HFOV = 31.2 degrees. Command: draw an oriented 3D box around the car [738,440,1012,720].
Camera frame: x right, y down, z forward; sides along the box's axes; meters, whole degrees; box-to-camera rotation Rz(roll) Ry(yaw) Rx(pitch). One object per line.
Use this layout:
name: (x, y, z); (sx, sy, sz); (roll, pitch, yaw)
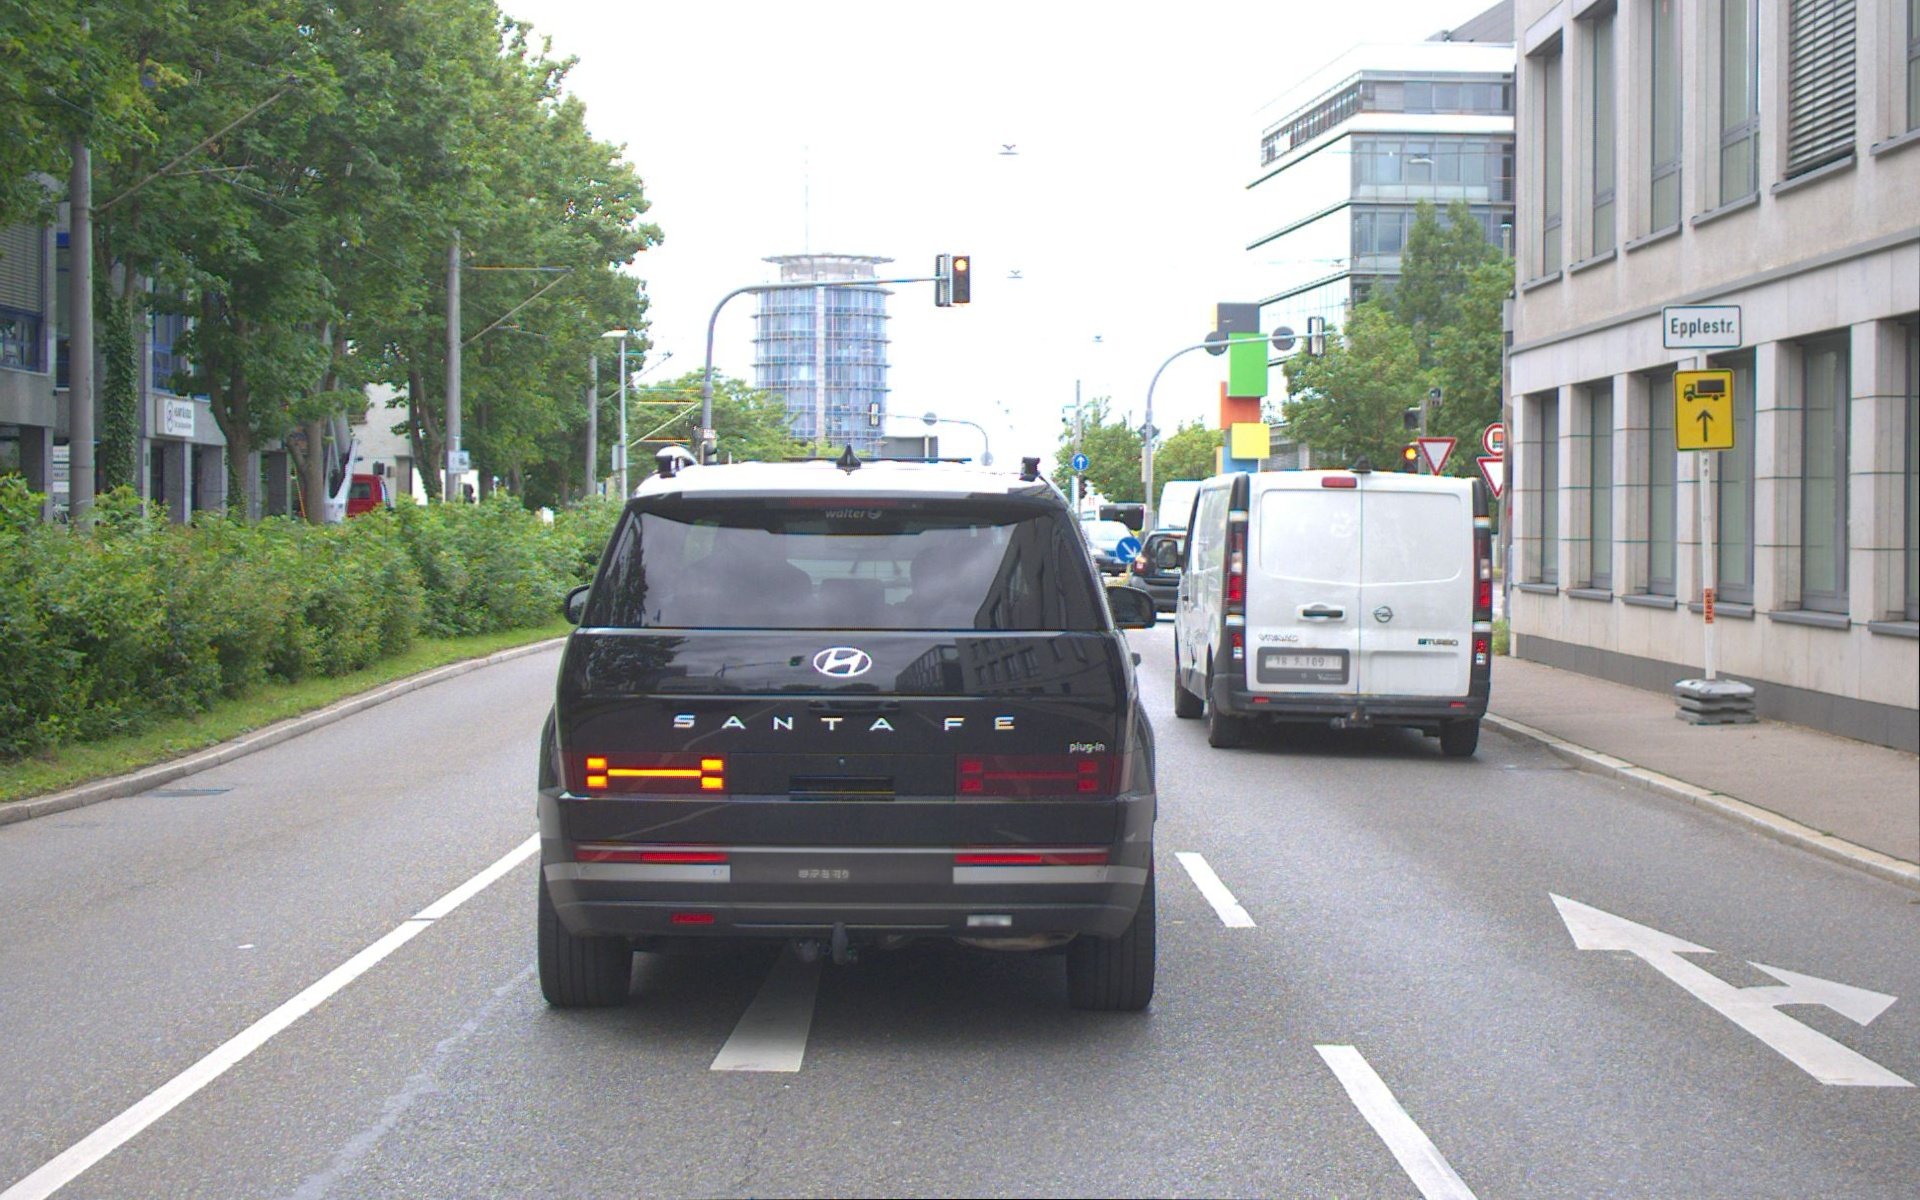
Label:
car: (-0.747, -0.194, 26.803); (1.931, 1.987, 4.536); (0, 1, -4)

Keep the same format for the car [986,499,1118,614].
car: (1.440, -0.724, 55.541); (1.993, 1.784, 4.000); (1, 1, 0)

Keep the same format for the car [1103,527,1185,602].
car: (4.063, -0.816, 76.081); (1.759, 1.603, 4.188); (0, 1, 3)

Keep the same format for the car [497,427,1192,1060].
car: (-0.445, 0.368, 11.731); (1.908, 1.743, 4.397); (1, 1, -3)

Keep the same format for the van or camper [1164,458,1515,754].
van or camper: (2.628, -0.010, 24.842); (1.993, 1.909, 4.332); (1, 1, 0)

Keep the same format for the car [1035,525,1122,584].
car: (3.310, -1.299, 96.602); (1.993, 1.613, 4.001); (0, 1, -4)

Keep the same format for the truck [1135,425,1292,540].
truck: (6.224, -2.860, 85.313); (2.331, 2.738, 6.489); (0, 1, -10)
